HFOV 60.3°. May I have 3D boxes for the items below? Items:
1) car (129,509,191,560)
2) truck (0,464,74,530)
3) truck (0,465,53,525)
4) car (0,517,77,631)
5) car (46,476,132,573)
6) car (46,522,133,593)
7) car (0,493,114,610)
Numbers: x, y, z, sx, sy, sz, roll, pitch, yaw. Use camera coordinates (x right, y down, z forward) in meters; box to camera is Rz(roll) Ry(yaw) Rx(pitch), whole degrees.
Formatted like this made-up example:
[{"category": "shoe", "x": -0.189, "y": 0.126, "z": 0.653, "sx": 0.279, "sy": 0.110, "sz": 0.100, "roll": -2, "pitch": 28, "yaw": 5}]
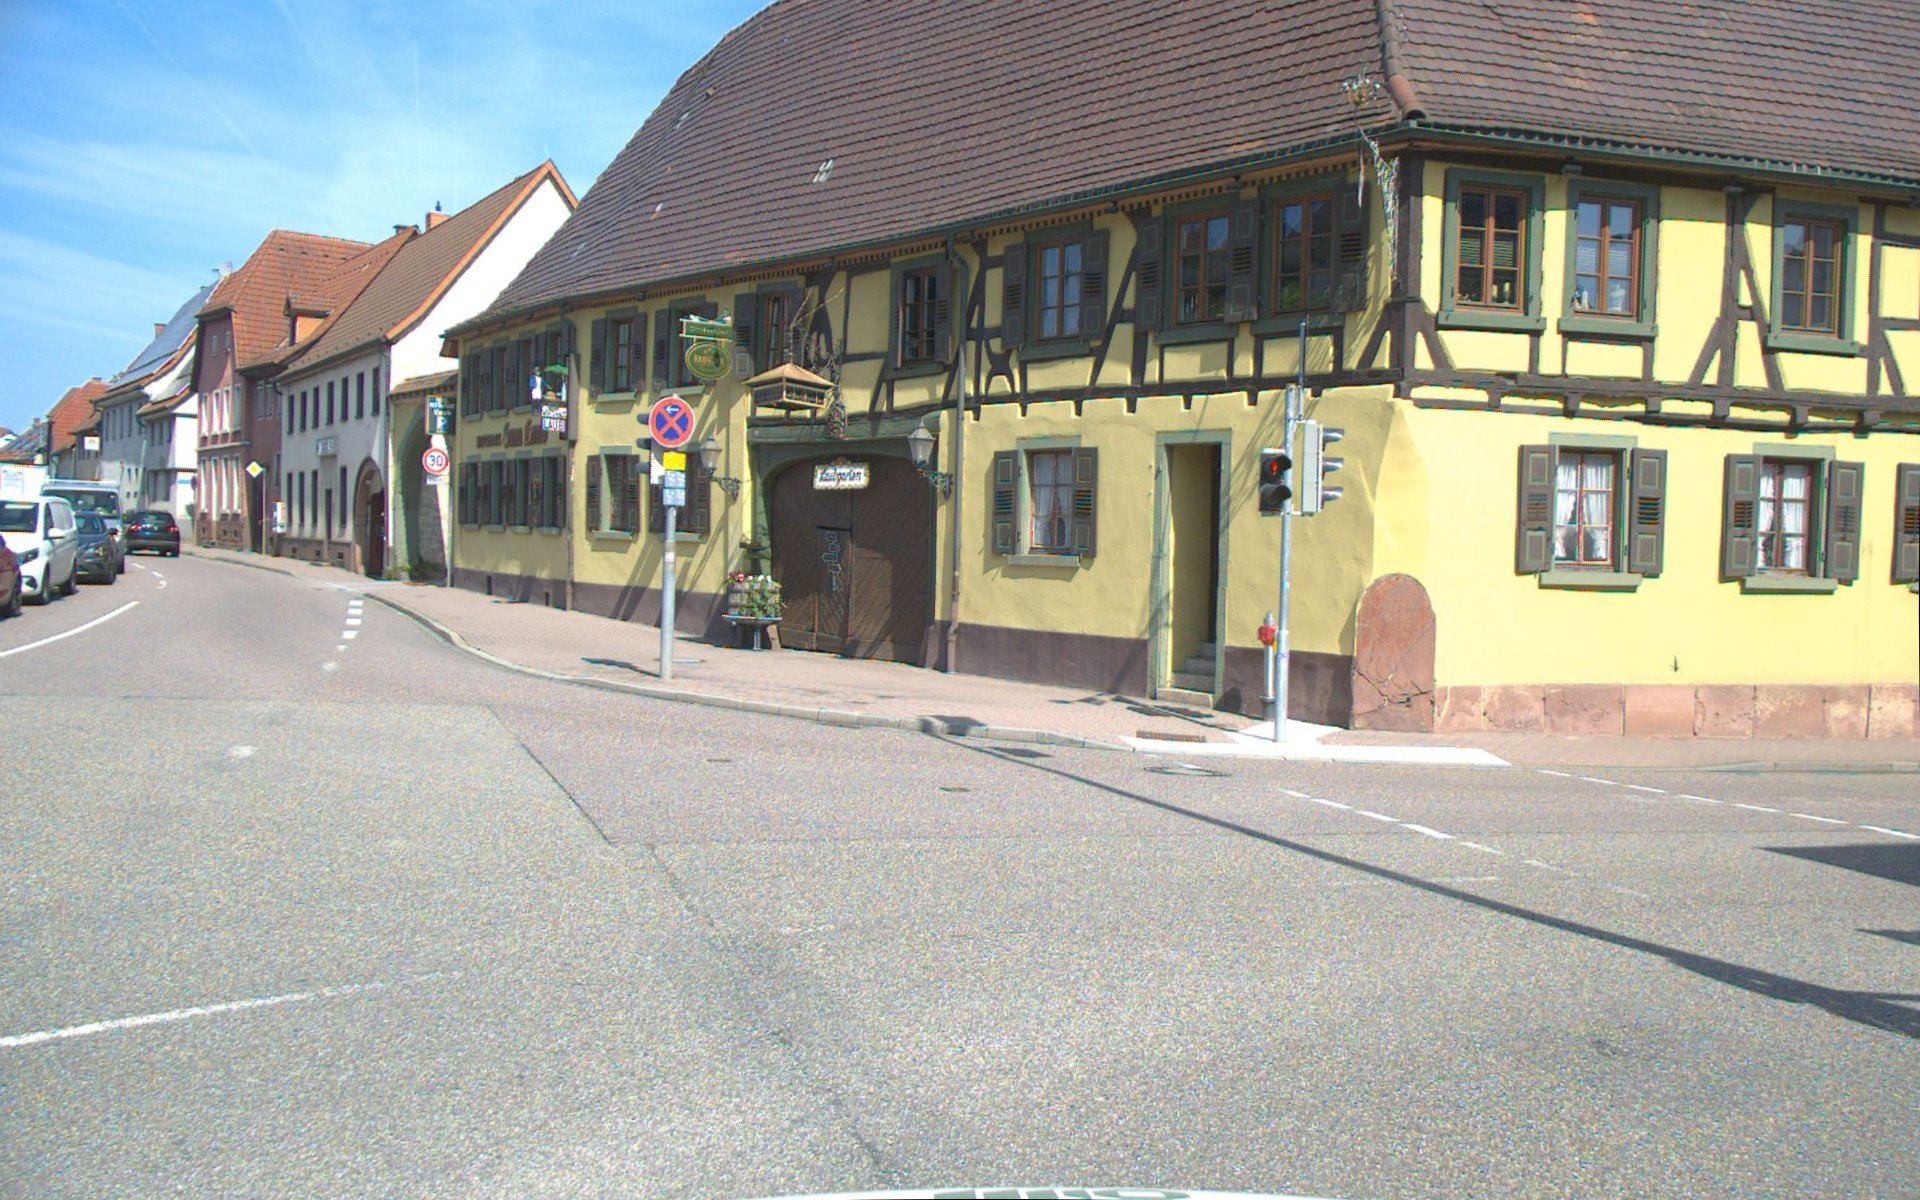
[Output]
[{"category": "car", "x": -29.510, "y": -2.417, "z": 60.942, "sx": 1.801, "sy": 1.769, "sz": 3.966, "roll": 0, "pitch": 2, "yaw": -30}, {"category": "truck", "x": -56.619, "y": -6.278, "z": 100.928, "sx": 3.198, "sy": 3.610, "sz": 9.115, "roll": 3, "pitch": 1, "yaw": -36}, {"category": "truck", "x": -62.386, "y": -6.822, "z": 108.877, "sx": 3.135, "sy": 3.520, "sz": 10.576, "roll": 4, "pitch": 0, "yaw": -36}, {"category": "car", "x": -14.811, "y": -0.460, "z": 24.405, "sx": 2.124, "sy": 1.541, "sz": 4.926, "roll": 2, "pitch": 2, "yaw": -17}, {"category": "car", "x": -22.728, "y": -1.952, "z": 43.086, "sx": 1.739, "sy": 2.285, "sz": 4.508, "roll": 4, "pitch": 1, "yaw": -30}, {"category": "car", "x": -19.425, "y": -0.977, "z": 36.856, "sx": 1.558, "sy": 1.408, "sz": 3.525, "roll": 4, "pitch": 1, "yaw": -30}, {"category": "car", "x": -16.741, "y": -0.926, "z": 30.041, "sx": 1.794, "sy": 1.939, "sz": 4.936, "roll": 1, "pitch": 2, "yaw": -20}]
